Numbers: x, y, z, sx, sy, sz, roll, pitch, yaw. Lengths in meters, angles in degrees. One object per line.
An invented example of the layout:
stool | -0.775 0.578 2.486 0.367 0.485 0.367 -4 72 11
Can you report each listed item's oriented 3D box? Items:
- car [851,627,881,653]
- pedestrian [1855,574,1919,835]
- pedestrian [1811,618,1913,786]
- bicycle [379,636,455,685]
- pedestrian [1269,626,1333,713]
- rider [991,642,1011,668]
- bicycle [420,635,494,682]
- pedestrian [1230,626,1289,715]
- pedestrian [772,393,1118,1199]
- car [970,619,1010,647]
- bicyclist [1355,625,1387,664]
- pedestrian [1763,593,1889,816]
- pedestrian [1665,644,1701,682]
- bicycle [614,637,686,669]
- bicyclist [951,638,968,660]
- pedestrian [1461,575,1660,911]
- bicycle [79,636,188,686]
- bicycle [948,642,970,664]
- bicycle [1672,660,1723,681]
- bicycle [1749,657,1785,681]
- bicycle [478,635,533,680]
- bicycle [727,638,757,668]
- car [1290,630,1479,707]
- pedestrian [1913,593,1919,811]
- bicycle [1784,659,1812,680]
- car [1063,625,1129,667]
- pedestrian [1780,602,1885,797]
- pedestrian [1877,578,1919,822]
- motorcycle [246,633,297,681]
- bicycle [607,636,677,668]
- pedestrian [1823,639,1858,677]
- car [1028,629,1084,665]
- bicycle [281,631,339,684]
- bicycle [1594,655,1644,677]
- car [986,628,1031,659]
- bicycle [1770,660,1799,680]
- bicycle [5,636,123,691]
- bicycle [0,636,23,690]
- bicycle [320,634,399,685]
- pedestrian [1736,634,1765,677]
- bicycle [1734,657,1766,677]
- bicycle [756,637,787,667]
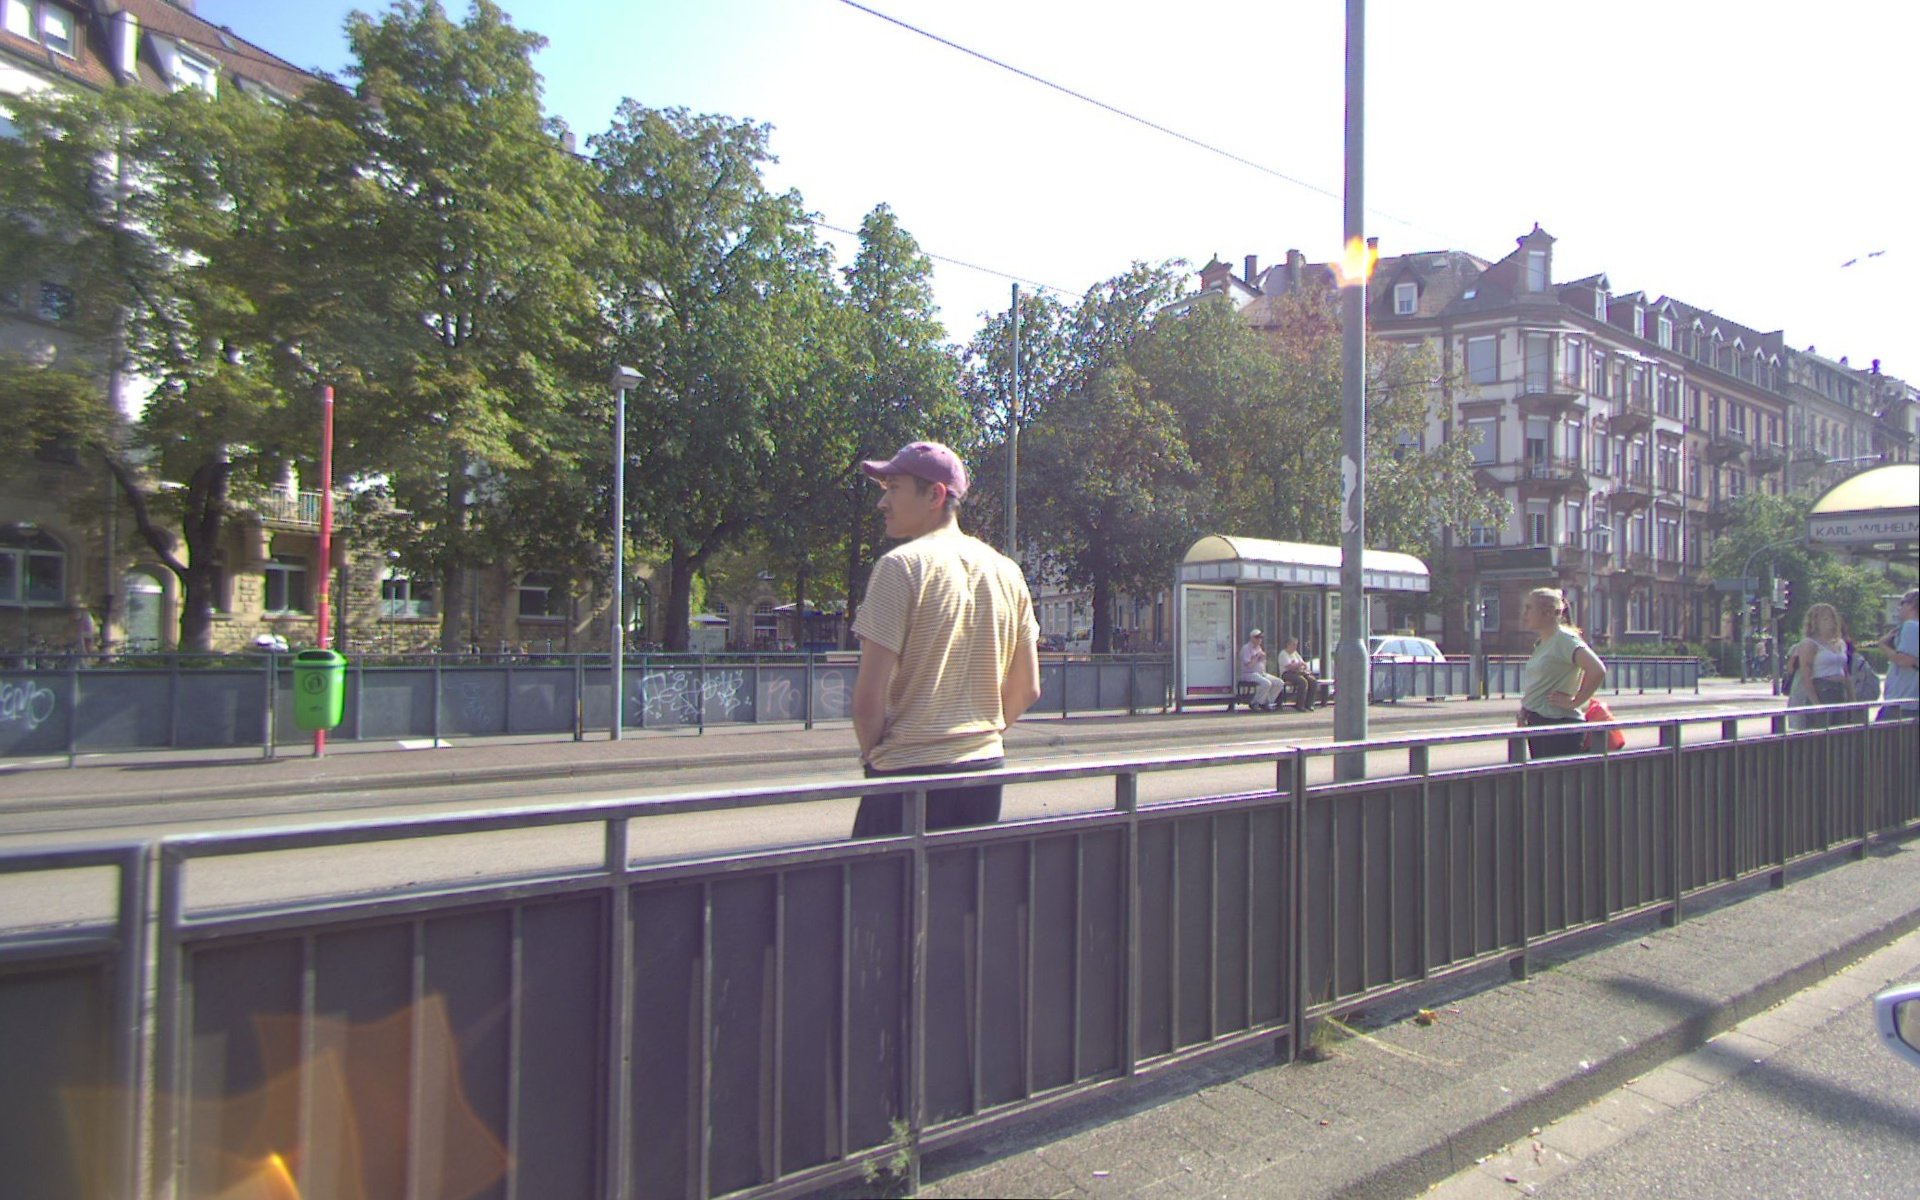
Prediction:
car | -7.779 3.279 82.701 2.043 2.043 4.584 1 -2 -11
pedestrian | 7.132 0.759 7.407 0.627 1.872 0.633 2 -2 -32
pedestrian | 8.754 0.964 9.758 0.600 1.565 0.586 2 -2 -32
bicycle | -16.275 1.786 30.109 2.261 1.389 0.866 0 -2 28
pedestrian | 5.982 1.205 17.633 0.711 1.475 0.788 2 -2 -33
rider | 2.550 3.414 62.192 0.980 1.531 1.112 2 -1 -11
bicycle | -15.665 1.810 31.288 2.261 1.389 0.866 0 -2 28
pedestrian | 5.082 1.186 17.056 0.711 1.475 0.673 2 -2 -33
pedestrian | -0.045 0.489 2.535 0.668 1.826 0.556 2 -2 -31
car | 2.188 2.500 75.695 2.043 2.043 4.584 1 -2 -11
bicyclist | 15.805 1.693 38.596 1.060 1.460 0.656 0 -2 29
pedestrian | 7.245 0.847 8.416 0.627 1.771 0.633 2 -2 -32
pedestrian | 30.906 2.670 42.956 0.927 1.591 0.842 1 -2 0
bicycle | -11.005 1.886 35.666 2.312 1.118 0.766 3 -2 -37
bicyclist | -0.046 3.449 70.983 0.980 1.531 1.112 2 -1 -11
pedestrian | 3.362 0.736 5.623 0.803 1.676 0.862 -1 -2 42
bicycle | -19.205 1.412 23.350 2.294 1.093 0.697 0 -2 14
bicycle | -0.078 3.730 71.016 0.980 1.474 2.878 2 -1 -11
bicycle | 32.205 3.068 43.884 1.791 0.871 0.528 1 -2 4
bicycle | 34.361 2.929 42.781 2.129 1.020 0.614 2 -2 -35
bicycle | -14.738 1.847 32.543 2.272 1.389 0.862 -1 -3 45
bicycle | -8.385 2.019 38.656 0.648 1.118 2.079 2 -2 -25
car | 10.042 1.573 23.694 4.433 1.672 1.983 2 -2 -33
pedestrian | 8.267 0.836 8.180 0.600 1.787 0.586 2 -2 -32
bicycle | 39.647 3.273 47.526 1.683 0.939 0.523 2 -2 -31
car | 6.973 2.333 52.016 2.043 2.043 4.584 1 -2 -11
pedestrian | 8.184 0.907 9.428 0.600 1.743 0.586 2 -2 -32
pedestrian | 7.673 0.772 7.817 0.627 1.872 0.633 2 -2 -32
motorcycle | -18.460 1.512 26.911 1.857 1.193 0.674 1 -2 42
bicycle | -11.453 1.893 36.275 2.312 1.118 0.650 3 -2 -37
pedestrian | 41.658 2.738 47.527 1.172 1.789 0.900 2 -2 -31
car | 5.632 2.759 59.513 2.043 2.043 4.584 1 -2 -11
bicycle | -17.920 1.553 27.667 0.862 1.389 2.273 3 -3 -44
bicycle | 28.834 2.886 43.978 1.791 0.871 0.528 1 -2 4
car | 3.310 2.984 69.162 2.043 2.043 4.584 1 -2 -11
bicycle | 38.251 3.237 46.599 1.683 0.871 0.523 2 -2 -31
bicycle | -19.511 1.366 21.872 2.294 1.093 0.697 2 -2 14
bicycle | -20.596 1.284 20.706 2.294 1.093 0.697 0 -2 14
bicycle | -17.254 1.691 28.834 2.261 1.389 0.866 0 -2 28
pedestrian | 33.682 2.363 42.794 1.082 1.830 0.723 2 -2 -36
bicycle | 35.655 3.008 45.318 1.807 0.871 0.523 2 -2 -31
bicycle | -7.363 2.003 39.162 0.648 1.118 2.079 2 -2 -25
